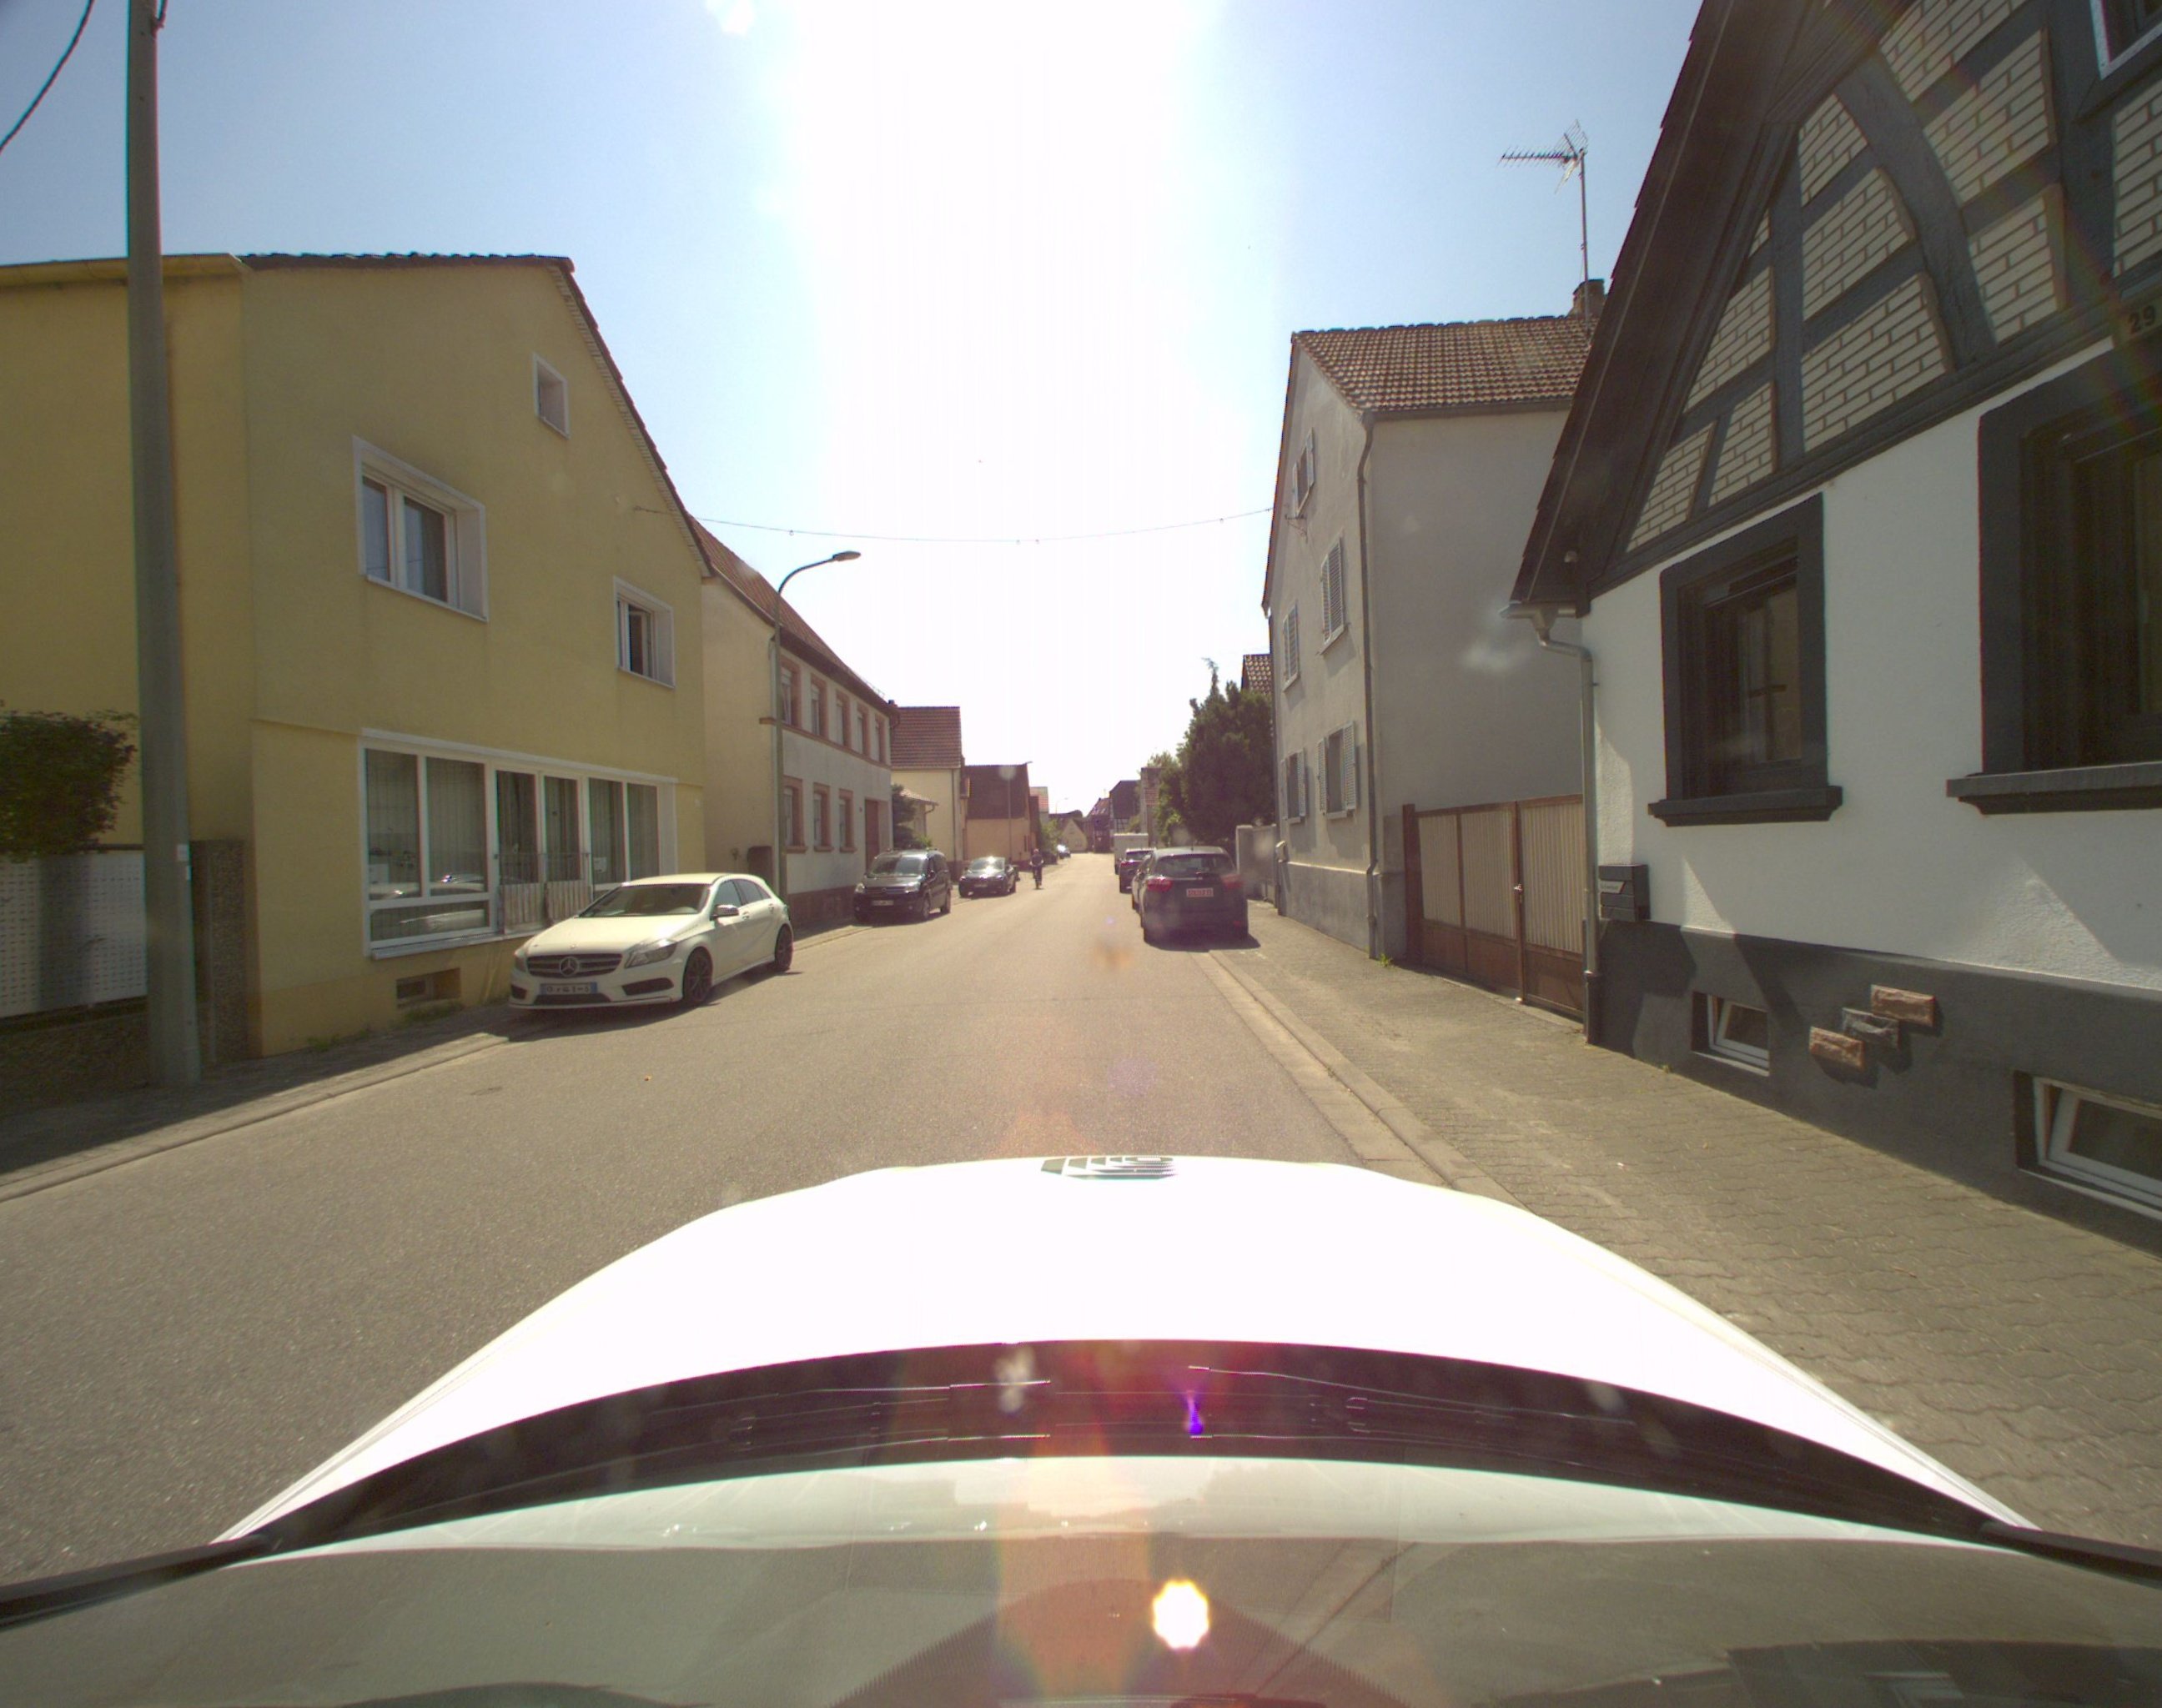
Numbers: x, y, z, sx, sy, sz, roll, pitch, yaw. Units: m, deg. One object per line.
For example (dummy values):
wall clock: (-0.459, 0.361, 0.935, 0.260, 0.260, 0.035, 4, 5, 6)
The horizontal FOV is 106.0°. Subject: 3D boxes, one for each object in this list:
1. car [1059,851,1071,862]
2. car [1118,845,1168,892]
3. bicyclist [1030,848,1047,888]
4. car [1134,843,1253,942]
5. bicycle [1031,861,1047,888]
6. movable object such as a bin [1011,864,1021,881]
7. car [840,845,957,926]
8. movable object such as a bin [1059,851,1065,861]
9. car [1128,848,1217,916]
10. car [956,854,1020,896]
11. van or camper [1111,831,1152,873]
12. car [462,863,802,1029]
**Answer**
car: (-2.273, 0.310, 118.452, 1.506, 1.436, 3.513, -3, 0, 2)
car: (2.471, 0.508, 32.027, 1.785, 1.631, 4.367, -2, 1, 5)
bicyclist: (-1.920, 0.645, 37.273, 0.702, 1.771, 0.624, -2, 0, -2)
car: (1.974, 0.622, 15.553, 1.790, 1.560, 4.634, -2, 0, 3)
bicycle: (-1.909, 0.926, 37.036, 0.587, 1.148, 1.947, -3, 0, -1)
movable object such as a bin: (-3.867, 1.092, 48.405, 0.537, 0.949, 0.553, -1, 0, 1)
car: (-4.667, 0.729, 21.519, 1.827, 1.837, 4.357, -3, 0, 3)
movable object such as a bin: (-2.480, 0.242, 106.972, 0.686, 1.185, 0.715, -3, 0, 2)
car: (2.223, 0.635, 20.878, 1.813, 1.508, 4.582, -2, 0, 1)
car: (-3.714, 0.793, 33.388, 1.837, 1.526, 4.768, -2, 0, 3)
van or camper: (3.412, -0.119, 55.987, 2.513, 2.696, 4.556, -2, 0, 1)
car: (-5.095, 0.921, 10.063, 1.829, 1.464, 4.268, -3, 0, -1)
